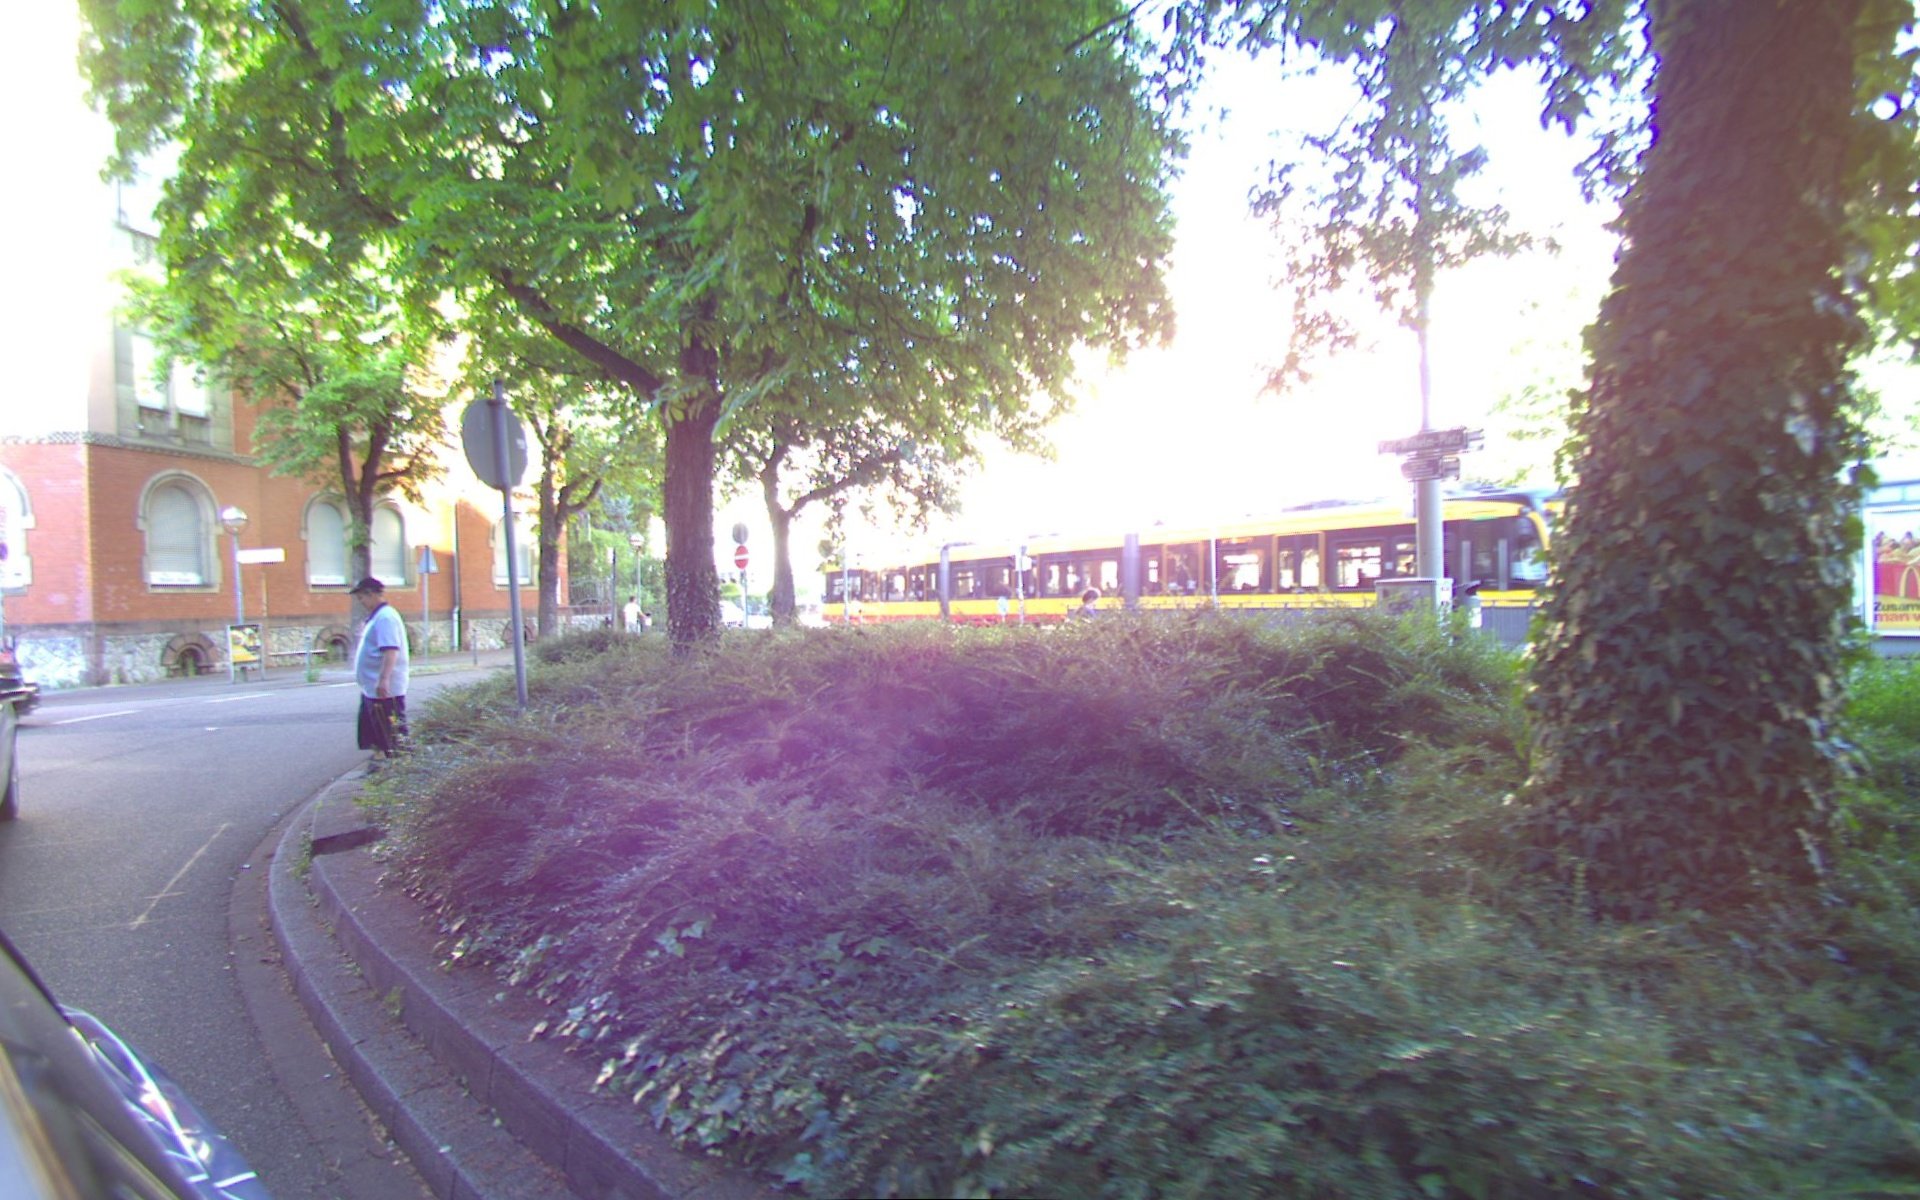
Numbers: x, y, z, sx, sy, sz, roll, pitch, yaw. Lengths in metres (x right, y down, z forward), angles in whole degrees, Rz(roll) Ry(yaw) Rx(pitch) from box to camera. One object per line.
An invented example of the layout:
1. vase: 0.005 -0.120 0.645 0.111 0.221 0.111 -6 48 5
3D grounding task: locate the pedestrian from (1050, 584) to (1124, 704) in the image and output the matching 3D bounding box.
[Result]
1. pedestrian: 1.883 0.632 14.904 0.814 1.696 0.892 -2 0 23

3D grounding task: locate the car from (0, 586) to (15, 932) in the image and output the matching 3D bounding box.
1. car: -6.630 0.787 5.663 1.896 1.618 4.521 -2 0 -43

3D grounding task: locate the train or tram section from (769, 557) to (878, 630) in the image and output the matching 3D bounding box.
1. train or tram section: -7.377 -0.358 53.853 2.924 3.533 7.210 -3 1 -32

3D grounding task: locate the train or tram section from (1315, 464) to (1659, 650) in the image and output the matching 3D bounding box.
1. train or tram section: 11.852 -0.836 23.388 2.873 3.668 6.365 -2 0 -32

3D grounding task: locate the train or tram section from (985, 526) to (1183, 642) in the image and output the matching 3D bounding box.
1. train or tram section: 4.143 -0.501 35.577 2.885 3.626 7.209 -3 1 -32

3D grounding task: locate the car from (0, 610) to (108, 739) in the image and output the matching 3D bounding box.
1. car: -14.569 1.052 13.721 4.197 1.605 2.003 -2 2 -5

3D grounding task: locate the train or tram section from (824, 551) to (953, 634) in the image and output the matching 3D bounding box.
1. train or tram section: -3.520 -0.349 47.762 2.924 3.533 7.210 -3 1 -32

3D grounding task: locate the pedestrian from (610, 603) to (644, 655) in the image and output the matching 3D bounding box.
1. pedestrian: -10.965 0.943 33.352 0.846 1.655 0.872 -2 0 -30

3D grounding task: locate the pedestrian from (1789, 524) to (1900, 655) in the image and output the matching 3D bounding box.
1. pedestrian: 13.510 -0.156 15.470 0.897 1.912 1.023 -2 0 -33

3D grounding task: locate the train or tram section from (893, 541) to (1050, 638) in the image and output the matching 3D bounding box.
1. train or tram section: 0.305 -0.437 41.671 2.890 3.617 7.209 -3 1 -32

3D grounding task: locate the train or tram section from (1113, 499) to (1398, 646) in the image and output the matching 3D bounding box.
1. train or tram section: 8.164 -0.662 29.203 2.873 3.641 7.882 -2 0 -32

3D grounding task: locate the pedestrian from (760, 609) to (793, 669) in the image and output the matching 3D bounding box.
1. pedestrian: -5.146 1.082 28.338 0.841 1.617 0.603 -2 0 -11

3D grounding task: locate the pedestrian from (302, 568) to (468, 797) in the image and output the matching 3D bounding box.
1. pedestrian: -4.564 0.623 8.092 0.769 1.696 0.919 -2 0 -1
